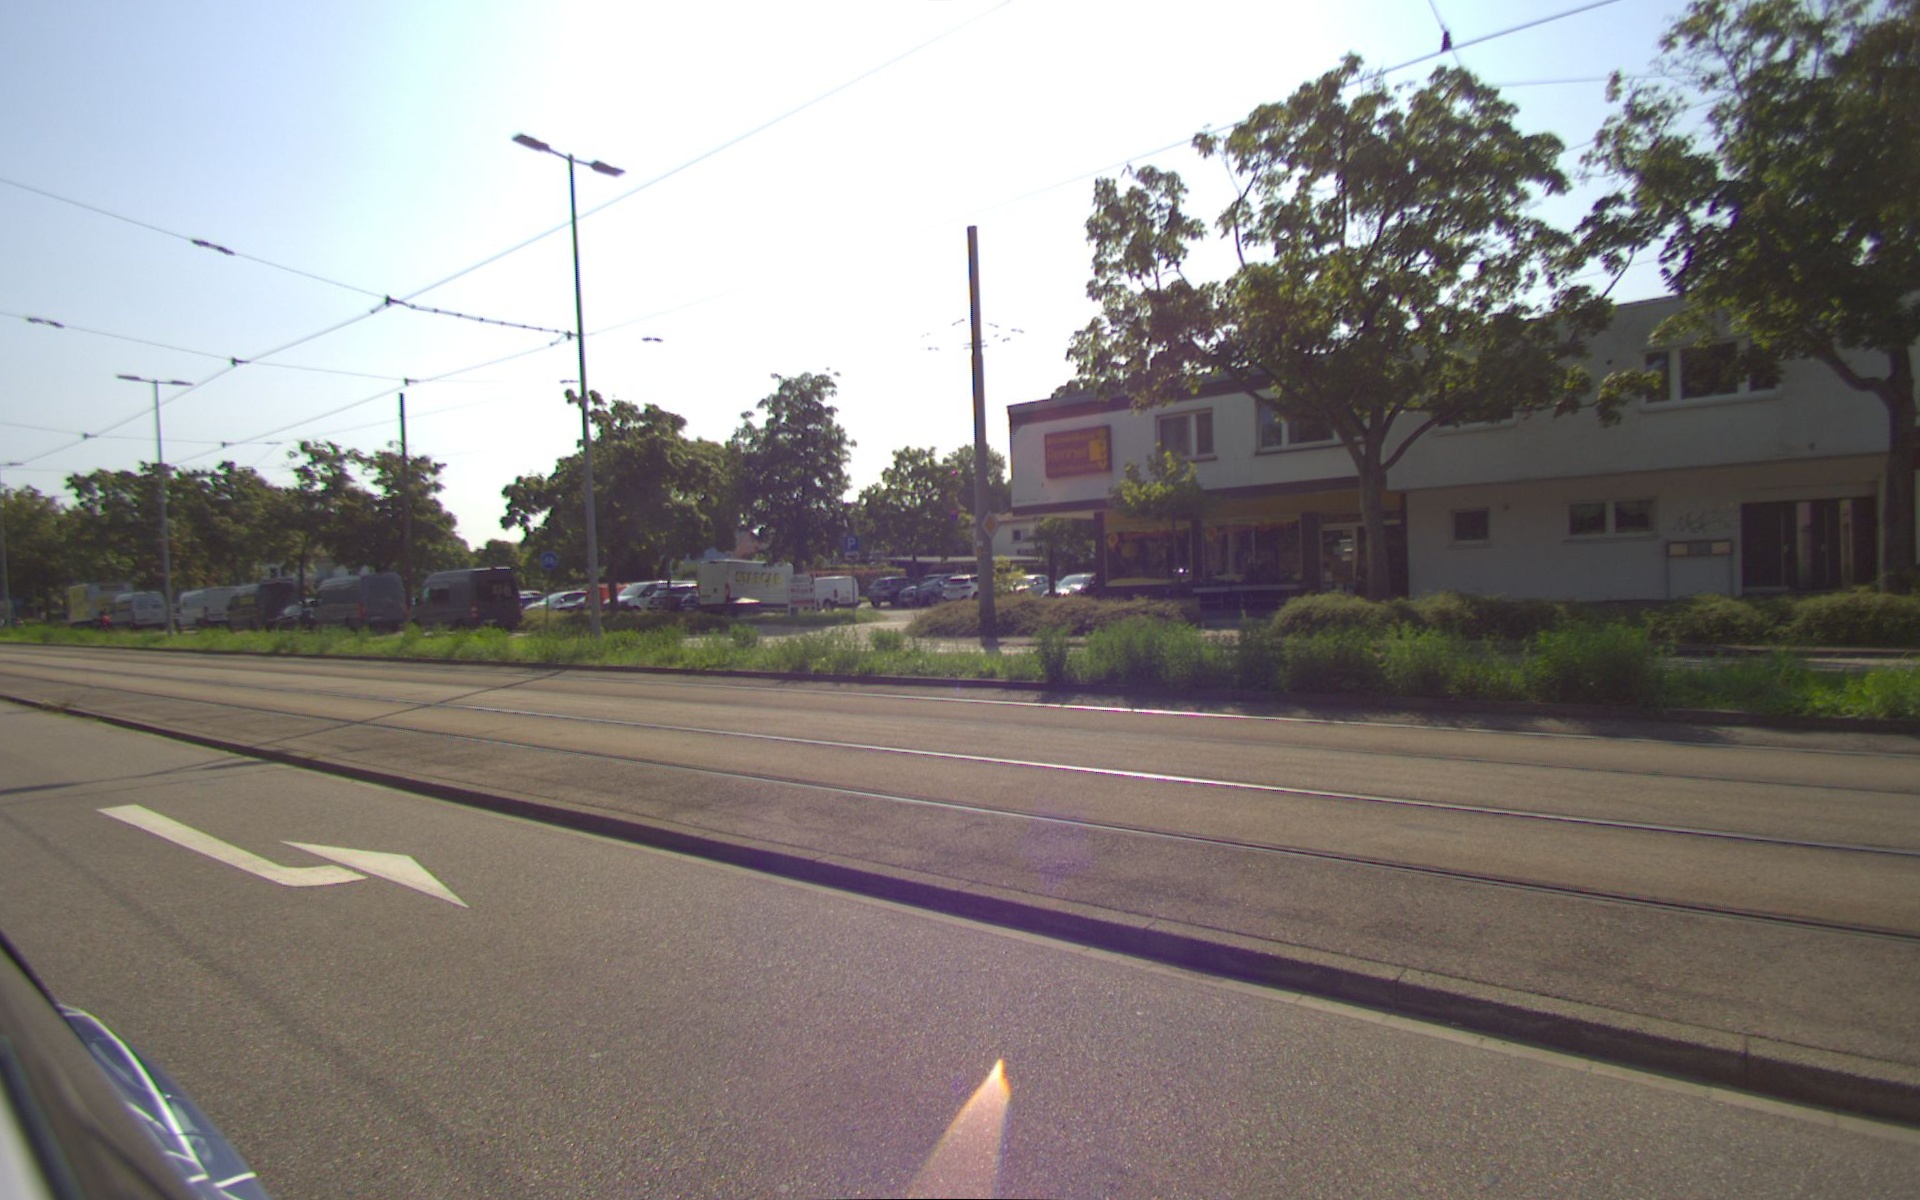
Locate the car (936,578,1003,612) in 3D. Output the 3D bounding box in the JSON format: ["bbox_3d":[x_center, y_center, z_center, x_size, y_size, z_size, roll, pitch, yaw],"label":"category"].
[{"bbox_3d":[0.529,-0.288,52.797,1.872,1.513,3.418,-2,3,35],"label":"car"}]

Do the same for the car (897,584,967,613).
[{"bbox_3d":[-1.483,-0.082,53.960,3.664,1.353,1.492,-3,1,-45],"label":"car"}]

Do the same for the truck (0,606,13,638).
[{"bbox_3d":[-96.082,2.192,100.335,8.781,3.145,2.250,-1,0,41],"label":"truck"}]

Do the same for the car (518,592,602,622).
[{"bbox_3d":[-21.420,0.364,54.335,1.617,1.474,4.130,-2,0,28],"label":"car"}]

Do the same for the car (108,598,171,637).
[{"bbox_3d":[-54.673,1.179,67.407,4.823,2.477,2.123,-1,0,37],"label":"car"}]

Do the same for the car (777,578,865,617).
[{"bbox_3d":[-7.130,-0.122,51.749,4.418,1.771,1.963,-3,1,41],"label":"car"}]

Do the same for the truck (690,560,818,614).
[{"bbox_3d":[-9.011,-0.562,44.820,2.255,2.189,5.440,-1,0,36],"label":"truck"}]

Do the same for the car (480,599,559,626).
[{"bbox_3d":[-25.208,0.701,57.995,1.630,1.461,3.888,-1,0,36],"label":"car"}]

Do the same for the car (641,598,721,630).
[{"bbox_3d":[-13.106,0.652,47.703,1.630,1.437,3.374,-1,0,36],"label":"car"}]

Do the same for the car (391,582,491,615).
[{"bbox_3d":[-31.959,-0.100,62.466,2.049,1.940,5.138,-1,0,36],"label":"car"}]

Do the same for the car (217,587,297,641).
[{"bbox_3d":[-37.222,0.766,53.498,5.903,2.605,1.805,-2,2,39],"label":"car"}]

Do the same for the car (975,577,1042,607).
[{"bbox_3d":[2.451,-0.398,50.884,1.490,1.353,3.494,-2,1,42],"label":"car"}]

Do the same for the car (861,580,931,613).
[{"bbox_3d":[-3.578,-0.185,56.808,1.758,1.782,3.762,-1,0,43],"label":"car"}]

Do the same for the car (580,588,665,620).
[{"bbox_3d":[-17.105,0.175,51.402,1.630,1.530,3.888,-1,0,36],"label":"car"}]

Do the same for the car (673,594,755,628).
[{"bbox_3d":[-11.178,0.490,46.144,1.630,1.437,3.374,-1,0,36],"label":"car"}]

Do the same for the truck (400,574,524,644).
[{"bbox_3d":[-19.603,0.369,39.714,5.730,2.567,2.061,-1,0,38],"label":"truck"}]

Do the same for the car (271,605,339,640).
[{"bbox_3d":[-32.233,1.107,49.769,3.831,1.563,1.727,-1,2,41],"label":"car"}]

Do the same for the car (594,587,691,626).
[{"bbox_3d":[-15.349,0.307,49.081,1.630,1.798,4.359,-1,0,36],"label":"car"}]

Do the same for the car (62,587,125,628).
[{"bbox_3d":[-62.643,0.575,73.093,7.222,2.826,2.104,-1,0,39],"label":"car"}]

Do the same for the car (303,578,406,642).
[{"bbox_3d":[-27.509,0.457,45.882,6.463,2.605,1.968,-1,3,41],"label":"car"}]

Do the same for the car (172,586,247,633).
[{"bbox_3d":[-43.433,0.572,58.507,5.624,2.605,2.112,-1,0,39],"label":"car"}]
